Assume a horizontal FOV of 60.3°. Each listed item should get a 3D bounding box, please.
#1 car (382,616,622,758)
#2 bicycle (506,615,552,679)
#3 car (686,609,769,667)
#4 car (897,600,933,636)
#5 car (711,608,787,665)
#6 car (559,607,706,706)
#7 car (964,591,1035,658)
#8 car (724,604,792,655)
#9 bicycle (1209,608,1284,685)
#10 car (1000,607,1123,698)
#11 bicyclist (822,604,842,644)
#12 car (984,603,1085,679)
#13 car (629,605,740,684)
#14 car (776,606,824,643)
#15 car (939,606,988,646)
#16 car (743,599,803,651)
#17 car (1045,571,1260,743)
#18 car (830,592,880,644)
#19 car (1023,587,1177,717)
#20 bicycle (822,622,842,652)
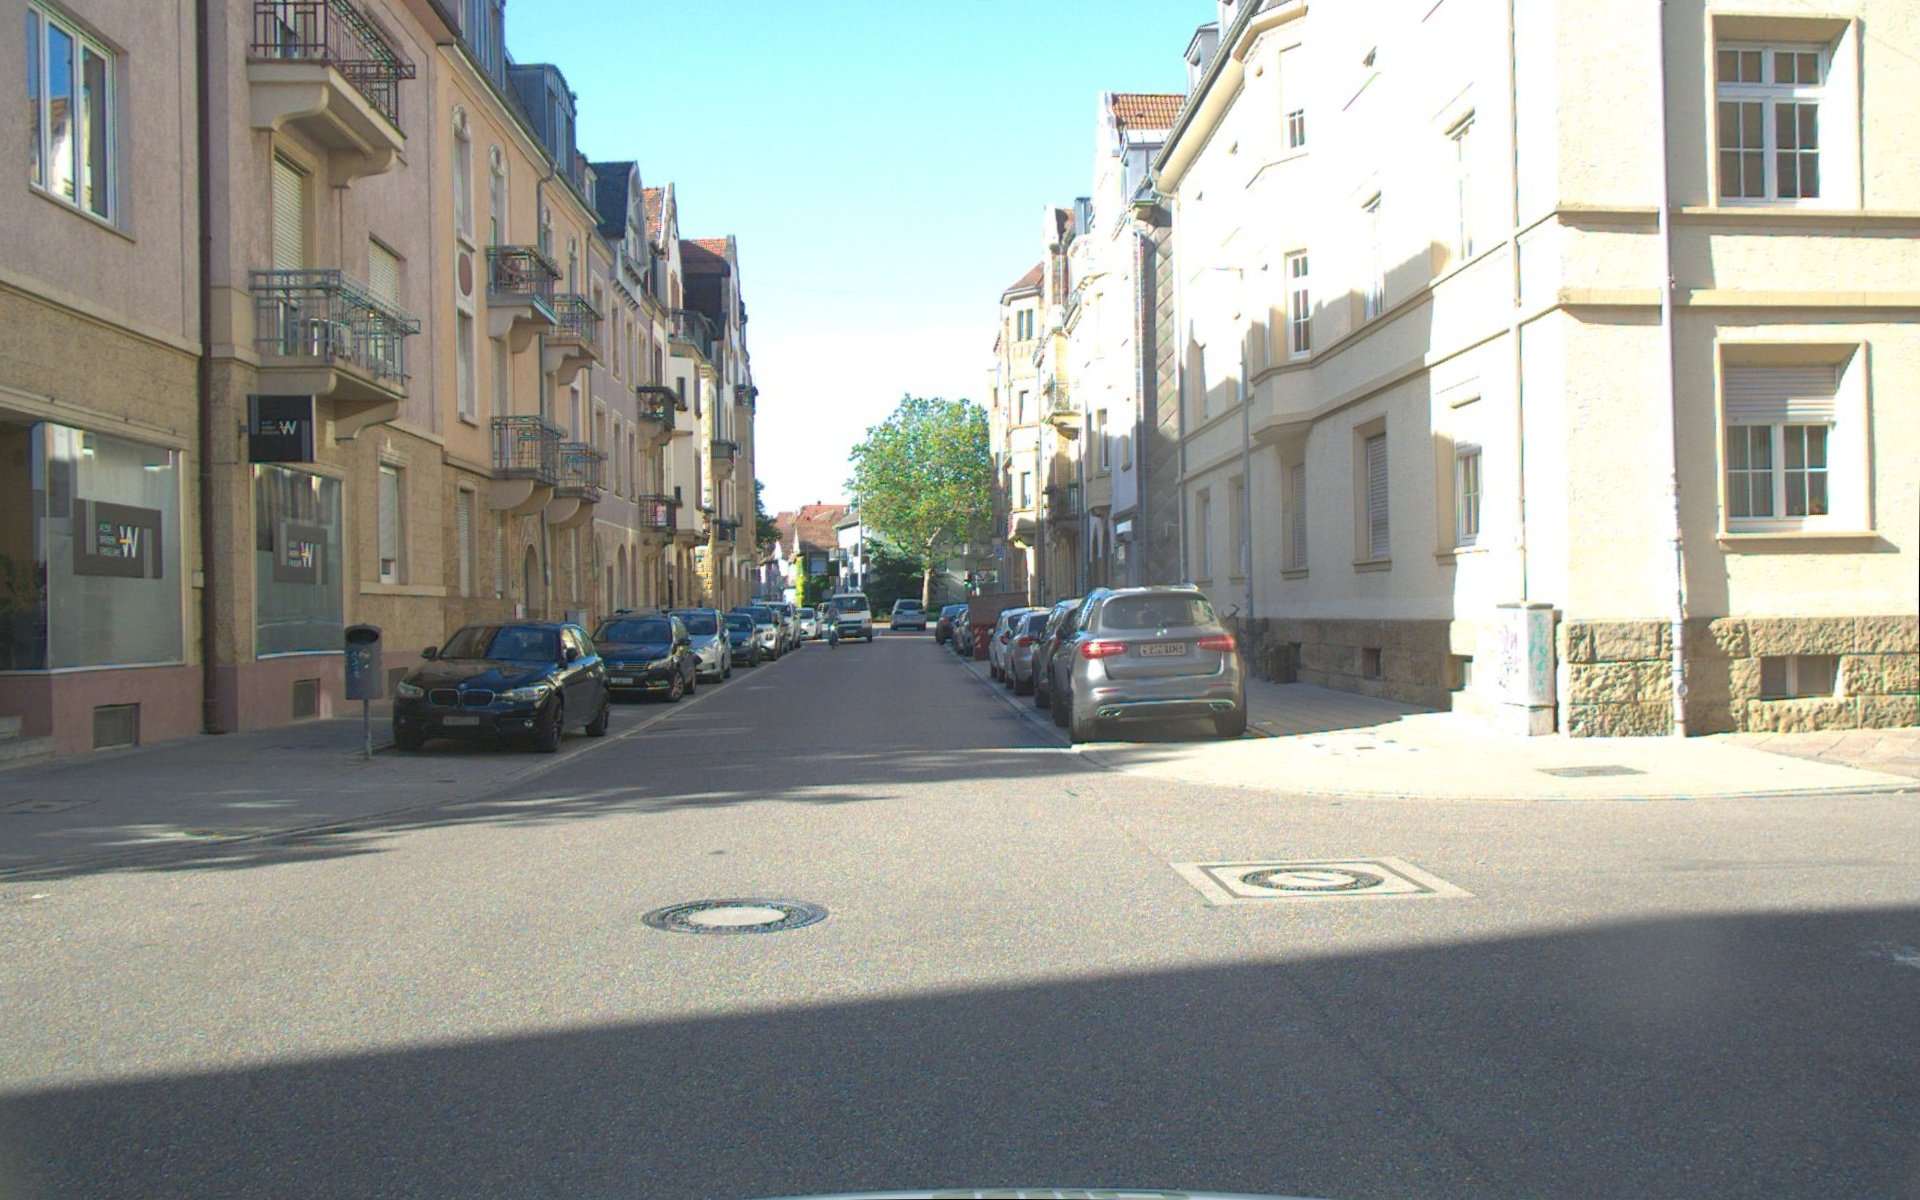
[{"bbox_3d":[-5.211,0.950,19.393,1.645,1.451,4.273,1,-1,-1],"label":"car"},{"bbox_3d":[-9.090,0.972,34.913,0.530,1.324,1.866,0,0,-1],"label":"bicycle"},{"bbox_3d":[-6.444,1.059,46.238,1.939,1.508,4.325,1,-1,-3],"label":"car"},{"bbox_3d":[-2.579,1.053,93.656,1.963,1.947,4.484,1,-1,-3],"label":"car"},{"bbox_3d":[-6.425,1.107,50.759,1.964,1.647,4.484,1,-1,-3],"label":"car"},{"bbox_3d":[-5.786,0.986,29.754,1.964,1.610,4.484,1,-1,-3],"label":"car"},{"bbox_3d":[1.116,0.744,48.198,1.801,1.818,4.026,-2,-2,-2],"label":"car"},{"bbox_3d":[-6.823,1.010,56.250,1.964,1.647,4.484,1,-1,-3],"label":"car"},{"bbox_3d":[4.970,0.781,28.866,0.746,1.268,2.590,-1,0,-3],"label":"bicycle"},{"bbox_3d":[1.769,0.950,30.024,1.802,1.456,4.027,-2,-2,-2],"label":"car"},{"bbox_3d":[-4.700,0.882,60.915,0.649,1.410,0.753,-3,-1,-4],"label":"bicyclist"},{"bbox_3d":[1.526,0.885,35.411,1.802,1.456,4.027,-2,-2,-2],"label":"car"},{"bbox_3d":[-6.109,0.984,37.162,1.964,1.647,4.484,1,-1,-3],"label":"car"},{"bbox_3d":[-7.390,1.166,76.735,1.964,1.633,4.484,1,-1,-3],"label":"car"},{"bbox_3d":[0.101,1.094,66.985,1.802,1.456,4.026,-2,-2,-2],"label":"car"},{"bbox_3d":[-6.944,0.950,61.751,1.964,1.819,4.484,1,-1,-3],"label":"car"},{"bbox_3d":[2.095,0.653,19.350,1.874,1.673,4.772,-2,-2,0],"label":"car"},{"bbox_3d":[-4.314,0.757,68.220,1.964,2.035,4.484,1,-1,-3],"label":"car"},{"bbox_3d":[1.940,0.750,23.967,1.710,1.636,4.027,-2,-2,-2],"label":"car"},{"bbox_3d":[-4.690,1.349,60.890,0.649,1.037,2.065,-3,-1,-3],"label":"bicycle"}]
